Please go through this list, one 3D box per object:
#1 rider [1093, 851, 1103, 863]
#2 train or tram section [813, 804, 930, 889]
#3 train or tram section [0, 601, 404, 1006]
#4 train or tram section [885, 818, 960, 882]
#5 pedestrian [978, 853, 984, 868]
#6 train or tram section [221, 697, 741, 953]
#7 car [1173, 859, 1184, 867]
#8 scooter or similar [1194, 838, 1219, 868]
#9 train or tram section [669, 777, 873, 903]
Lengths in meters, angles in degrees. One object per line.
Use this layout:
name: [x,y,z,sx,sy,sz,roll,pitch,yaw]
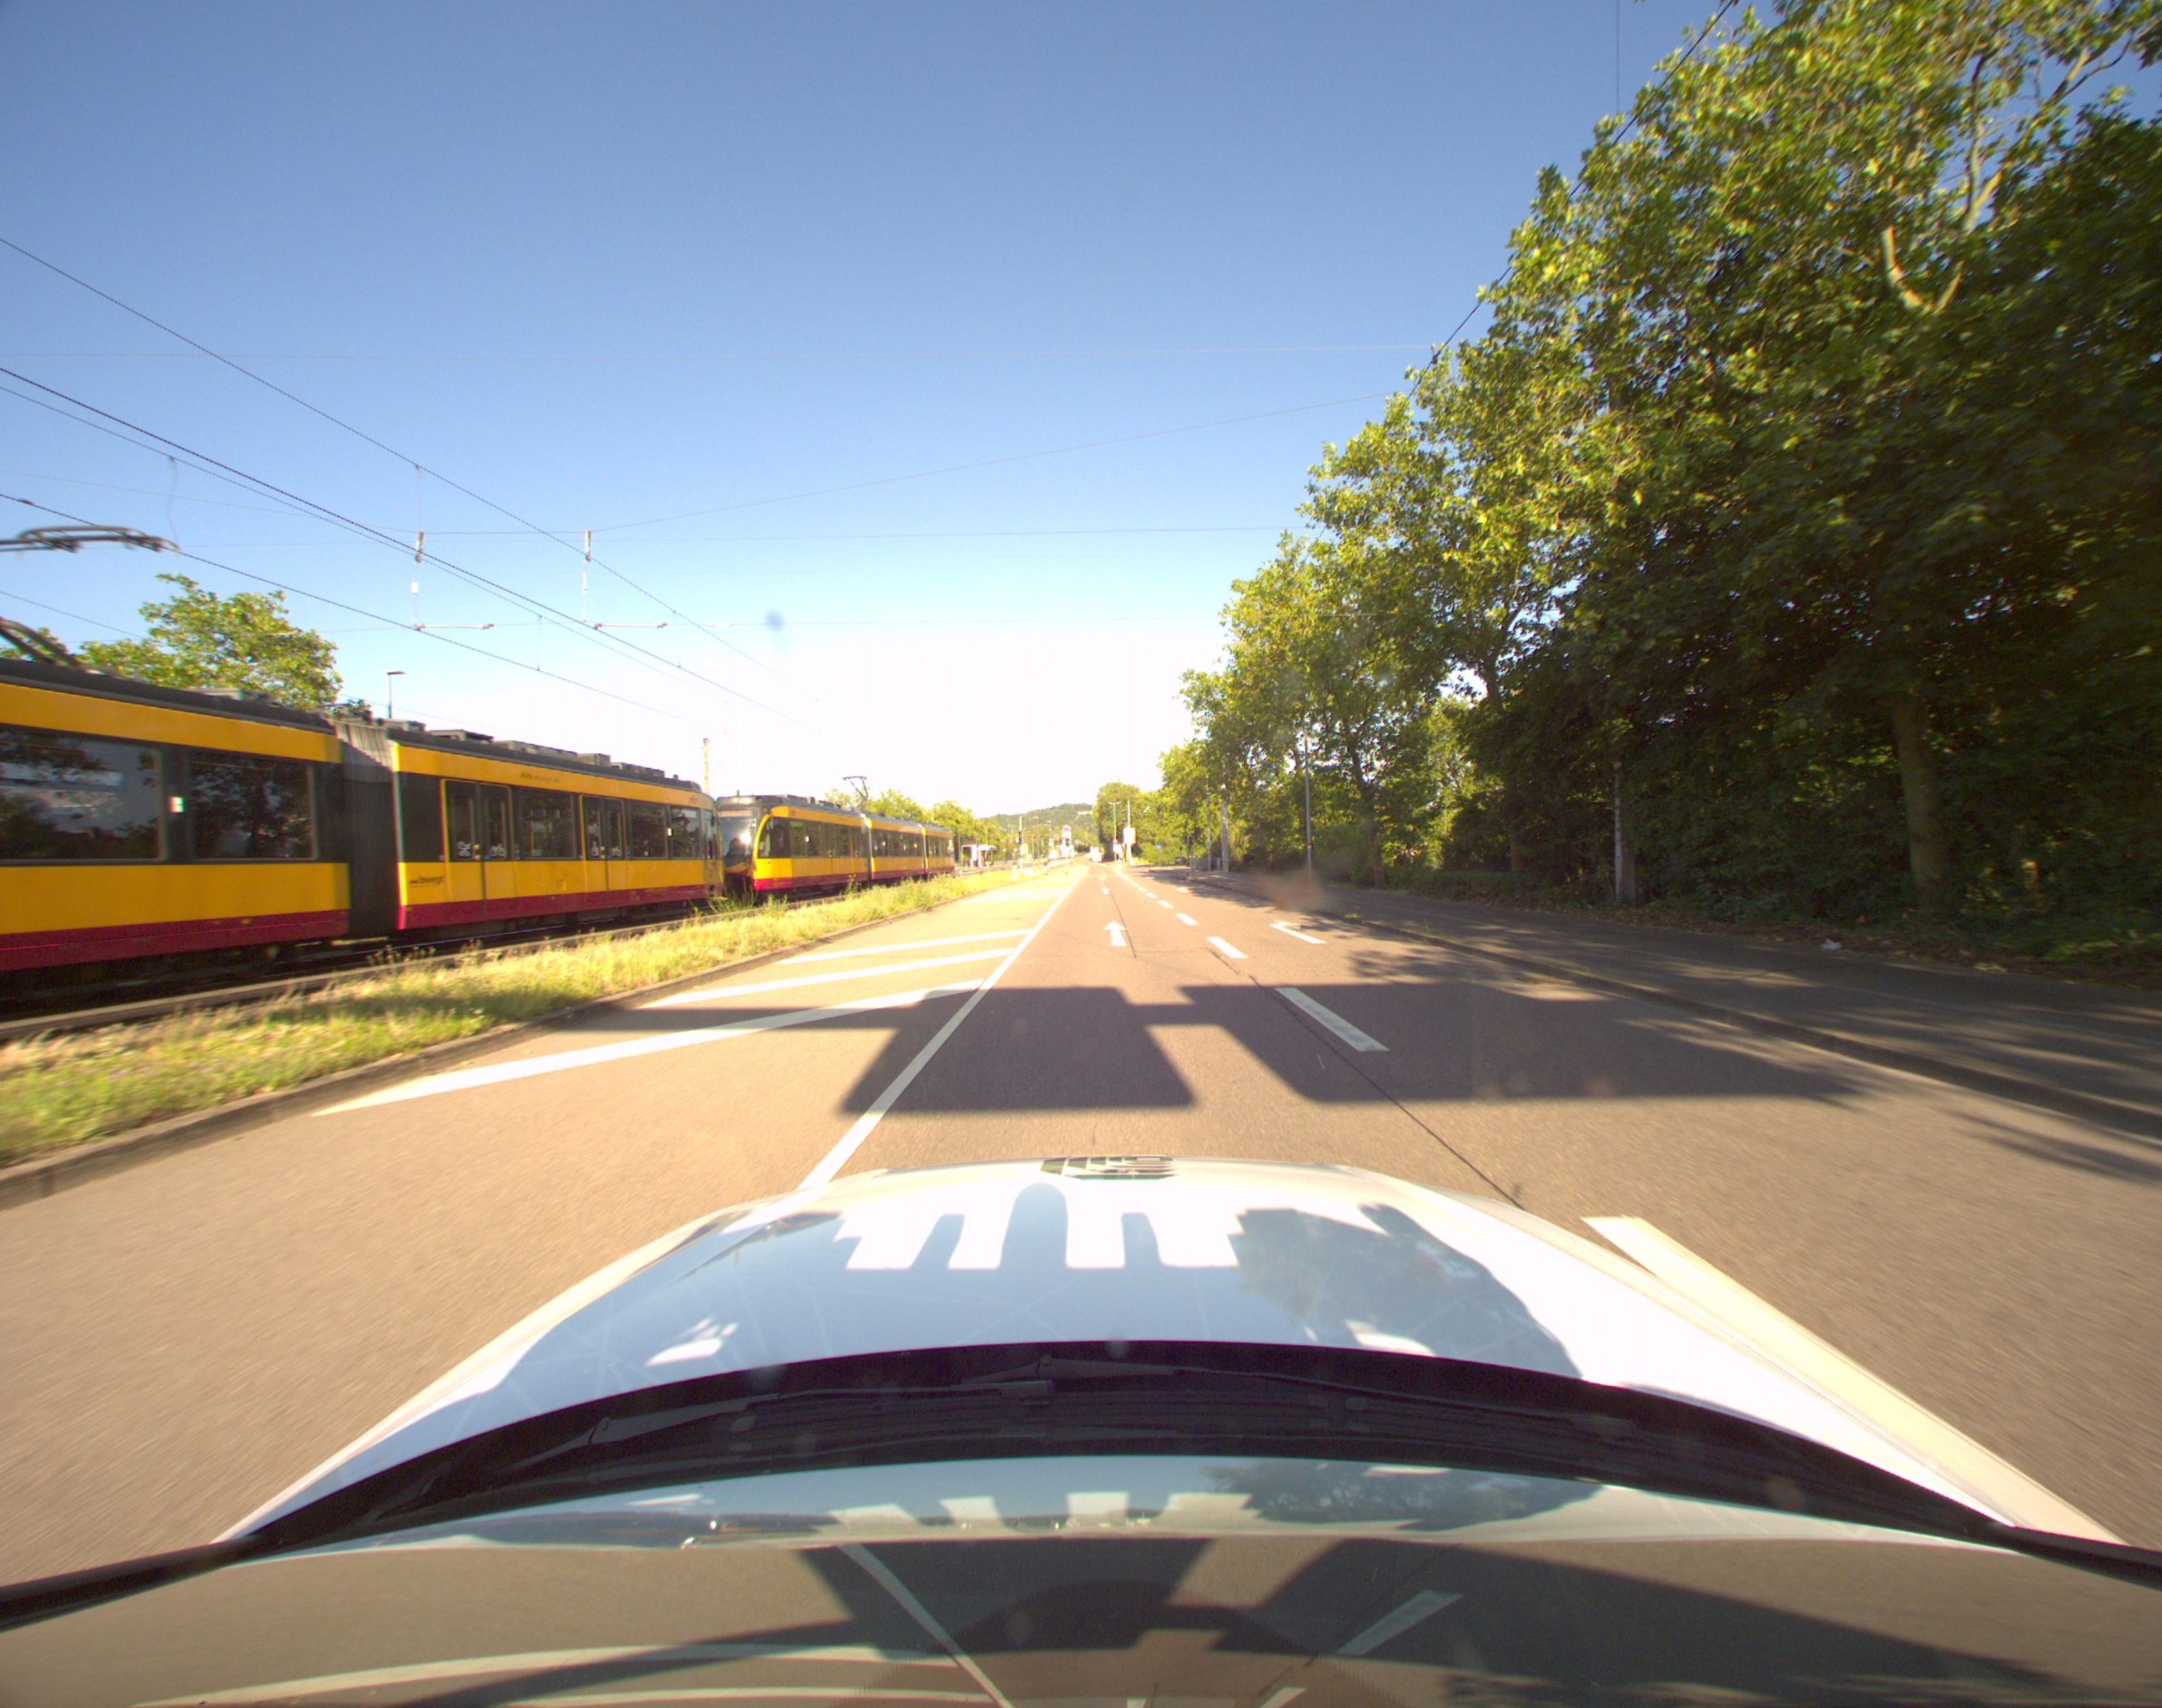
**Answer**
rider: [3.872,0.670,187.881,2.098,2.647,0.738,-1,0,6]
train or tram section: [-10.984,-0.292,44.427,2.814,3.951,12.656,0,0,1]
train or tram section: [-11.822,-0.495,6.395,2.794,3.903,11.991,0,0,1]
train or tram section: [-10.710,-0.201,56.176,2.814,3.951,10.836,0,0,1]
pedestrian: [-13.598,0.916,110.411,0.741,2.014,0.608,0,-1,1]
train or tram section: [-11.621,-0.403,18.355,2.794,3.903,11.813,0,0,1]
car: [18.812,1.718,157.452,2.075,1.566,3.963,0,0,7]
scooter or similar: [11.545,-0.062,75.118,1.675,2.716,4.871,0,0,2]
train or tram section: [-11.282,-0.389,31.745,2.814,3.951,12.709,0,0,1]
